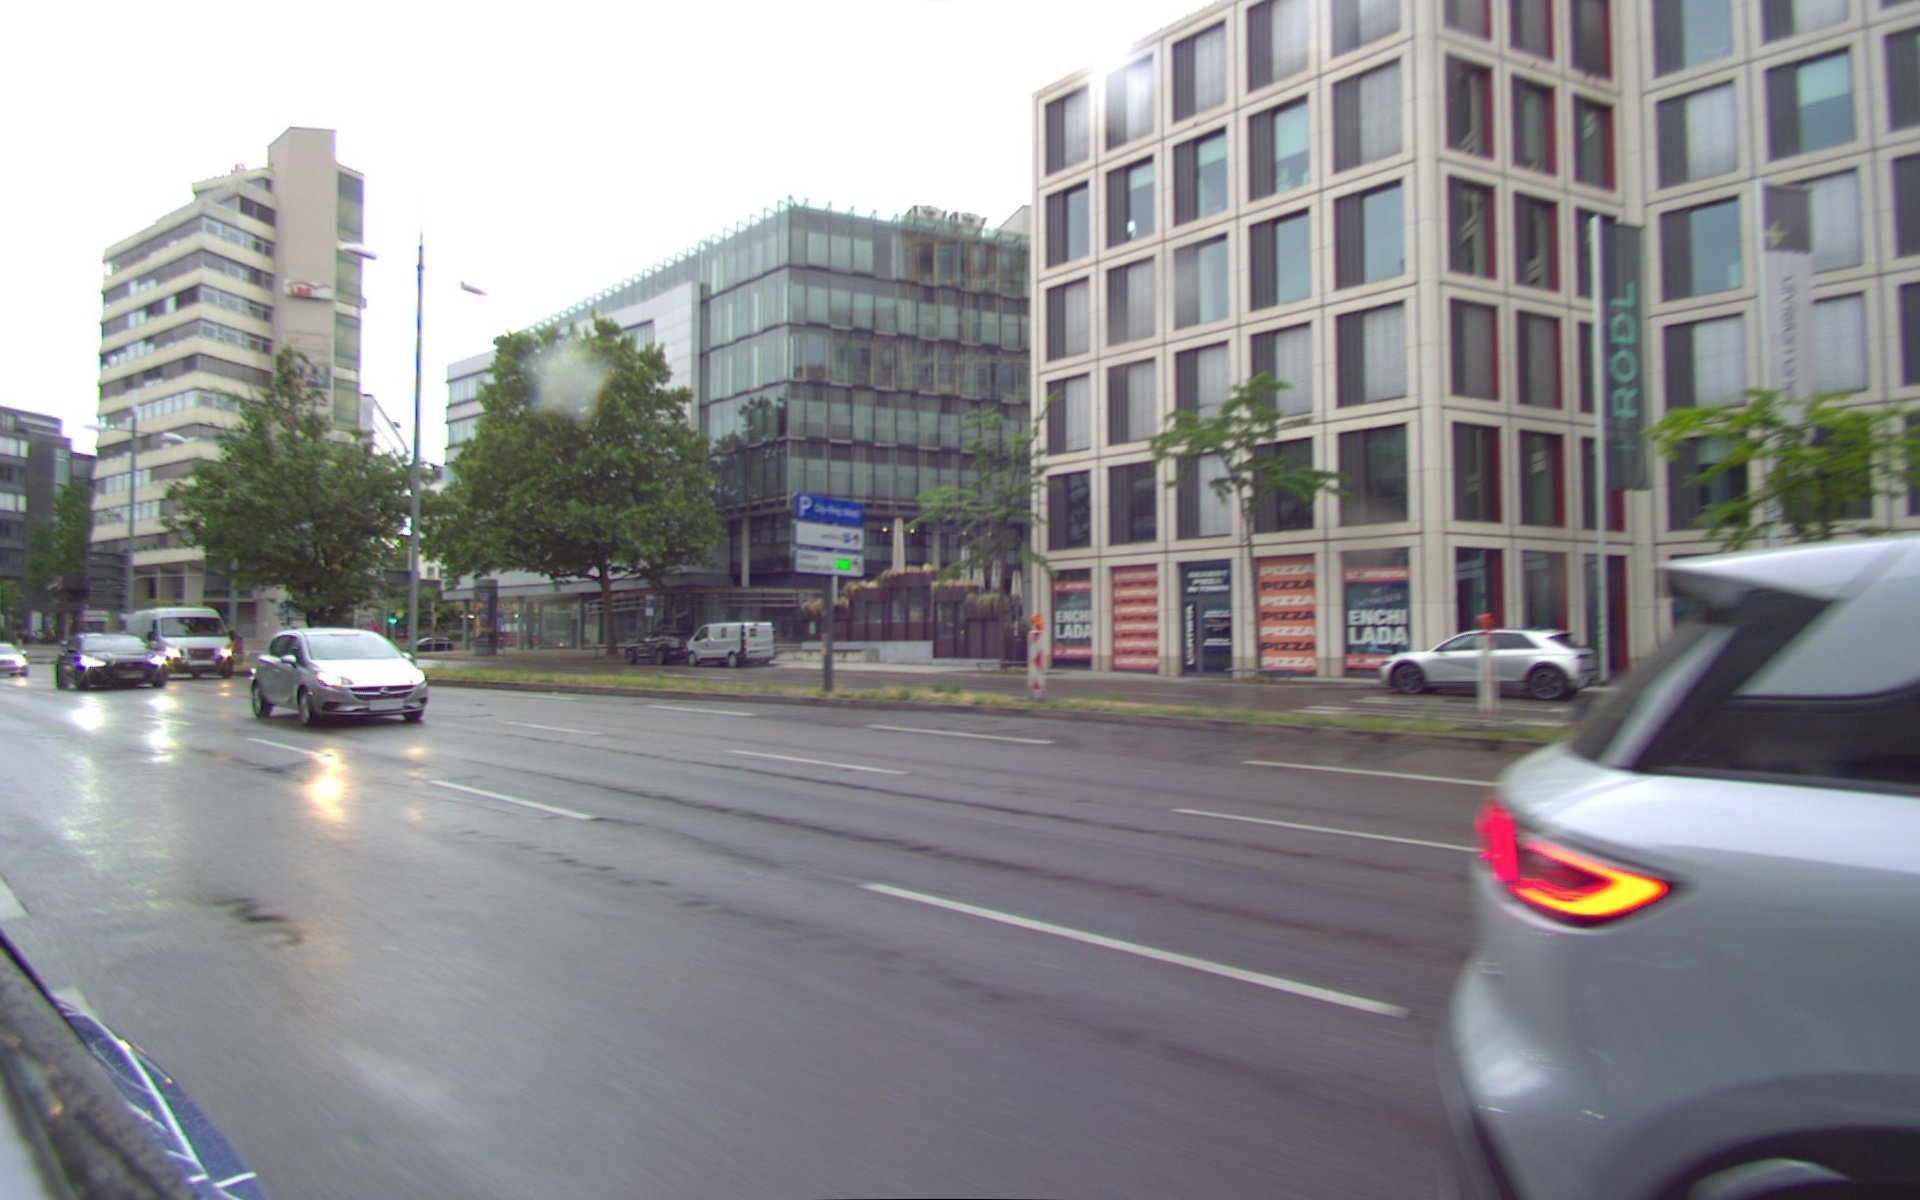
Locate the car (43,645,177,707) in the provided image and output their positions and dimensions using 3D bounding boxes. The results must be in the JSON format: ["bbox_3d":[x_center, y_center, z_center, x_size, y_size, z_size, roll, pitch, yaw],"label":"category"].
[{"bbox_3d":[-22.204,1.913,26.392,4.236,1.412,1.881,-2,-2,39],"label":"car"}]

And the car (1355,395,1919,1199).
[{"bbox_3d":[2.737,0.593,0.785,4.168,1.674,1.789,-2,-2,41],"label":"car"}]

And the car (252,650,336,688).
[{"bbox_3d":[-31.990,3.263,48.569,4.865,1.644,1.809,-2,-2,36],"label":"car"}]

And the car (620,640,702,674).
[{"bbox_3d":[-14.496,2.735,48.986,4.284,1.541,1.779,-2,-2,41],"label":"car"}]

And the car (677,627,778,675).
[{"bbox_3d":[-10.523,2.238,45.606,4.913,2.029,1.973,-2,-2,41],"label":"car"}]

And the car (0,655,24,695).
[{"bbox_3d":[-40.604,3.128,42.434,4.001,1.519,1.760,-2,-2,44],"label":"car"}]

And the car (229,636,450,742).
[{"bbox_3d":[-10.168,1.345,16.497,4.122,1.490,1.753,-2,-2,38],"label":"car"}]

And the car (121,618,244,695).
[{"bbox_3d":[-26.689,1.864,34.656,5.716,2.403,2.230,-2,-2,41],"label":"car"}]

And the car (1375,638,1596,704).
[{"bbox_3d":[12.340,1.645,23.945,4.372,1.435,1.679,-2,-5,42],"label":"car"}]
